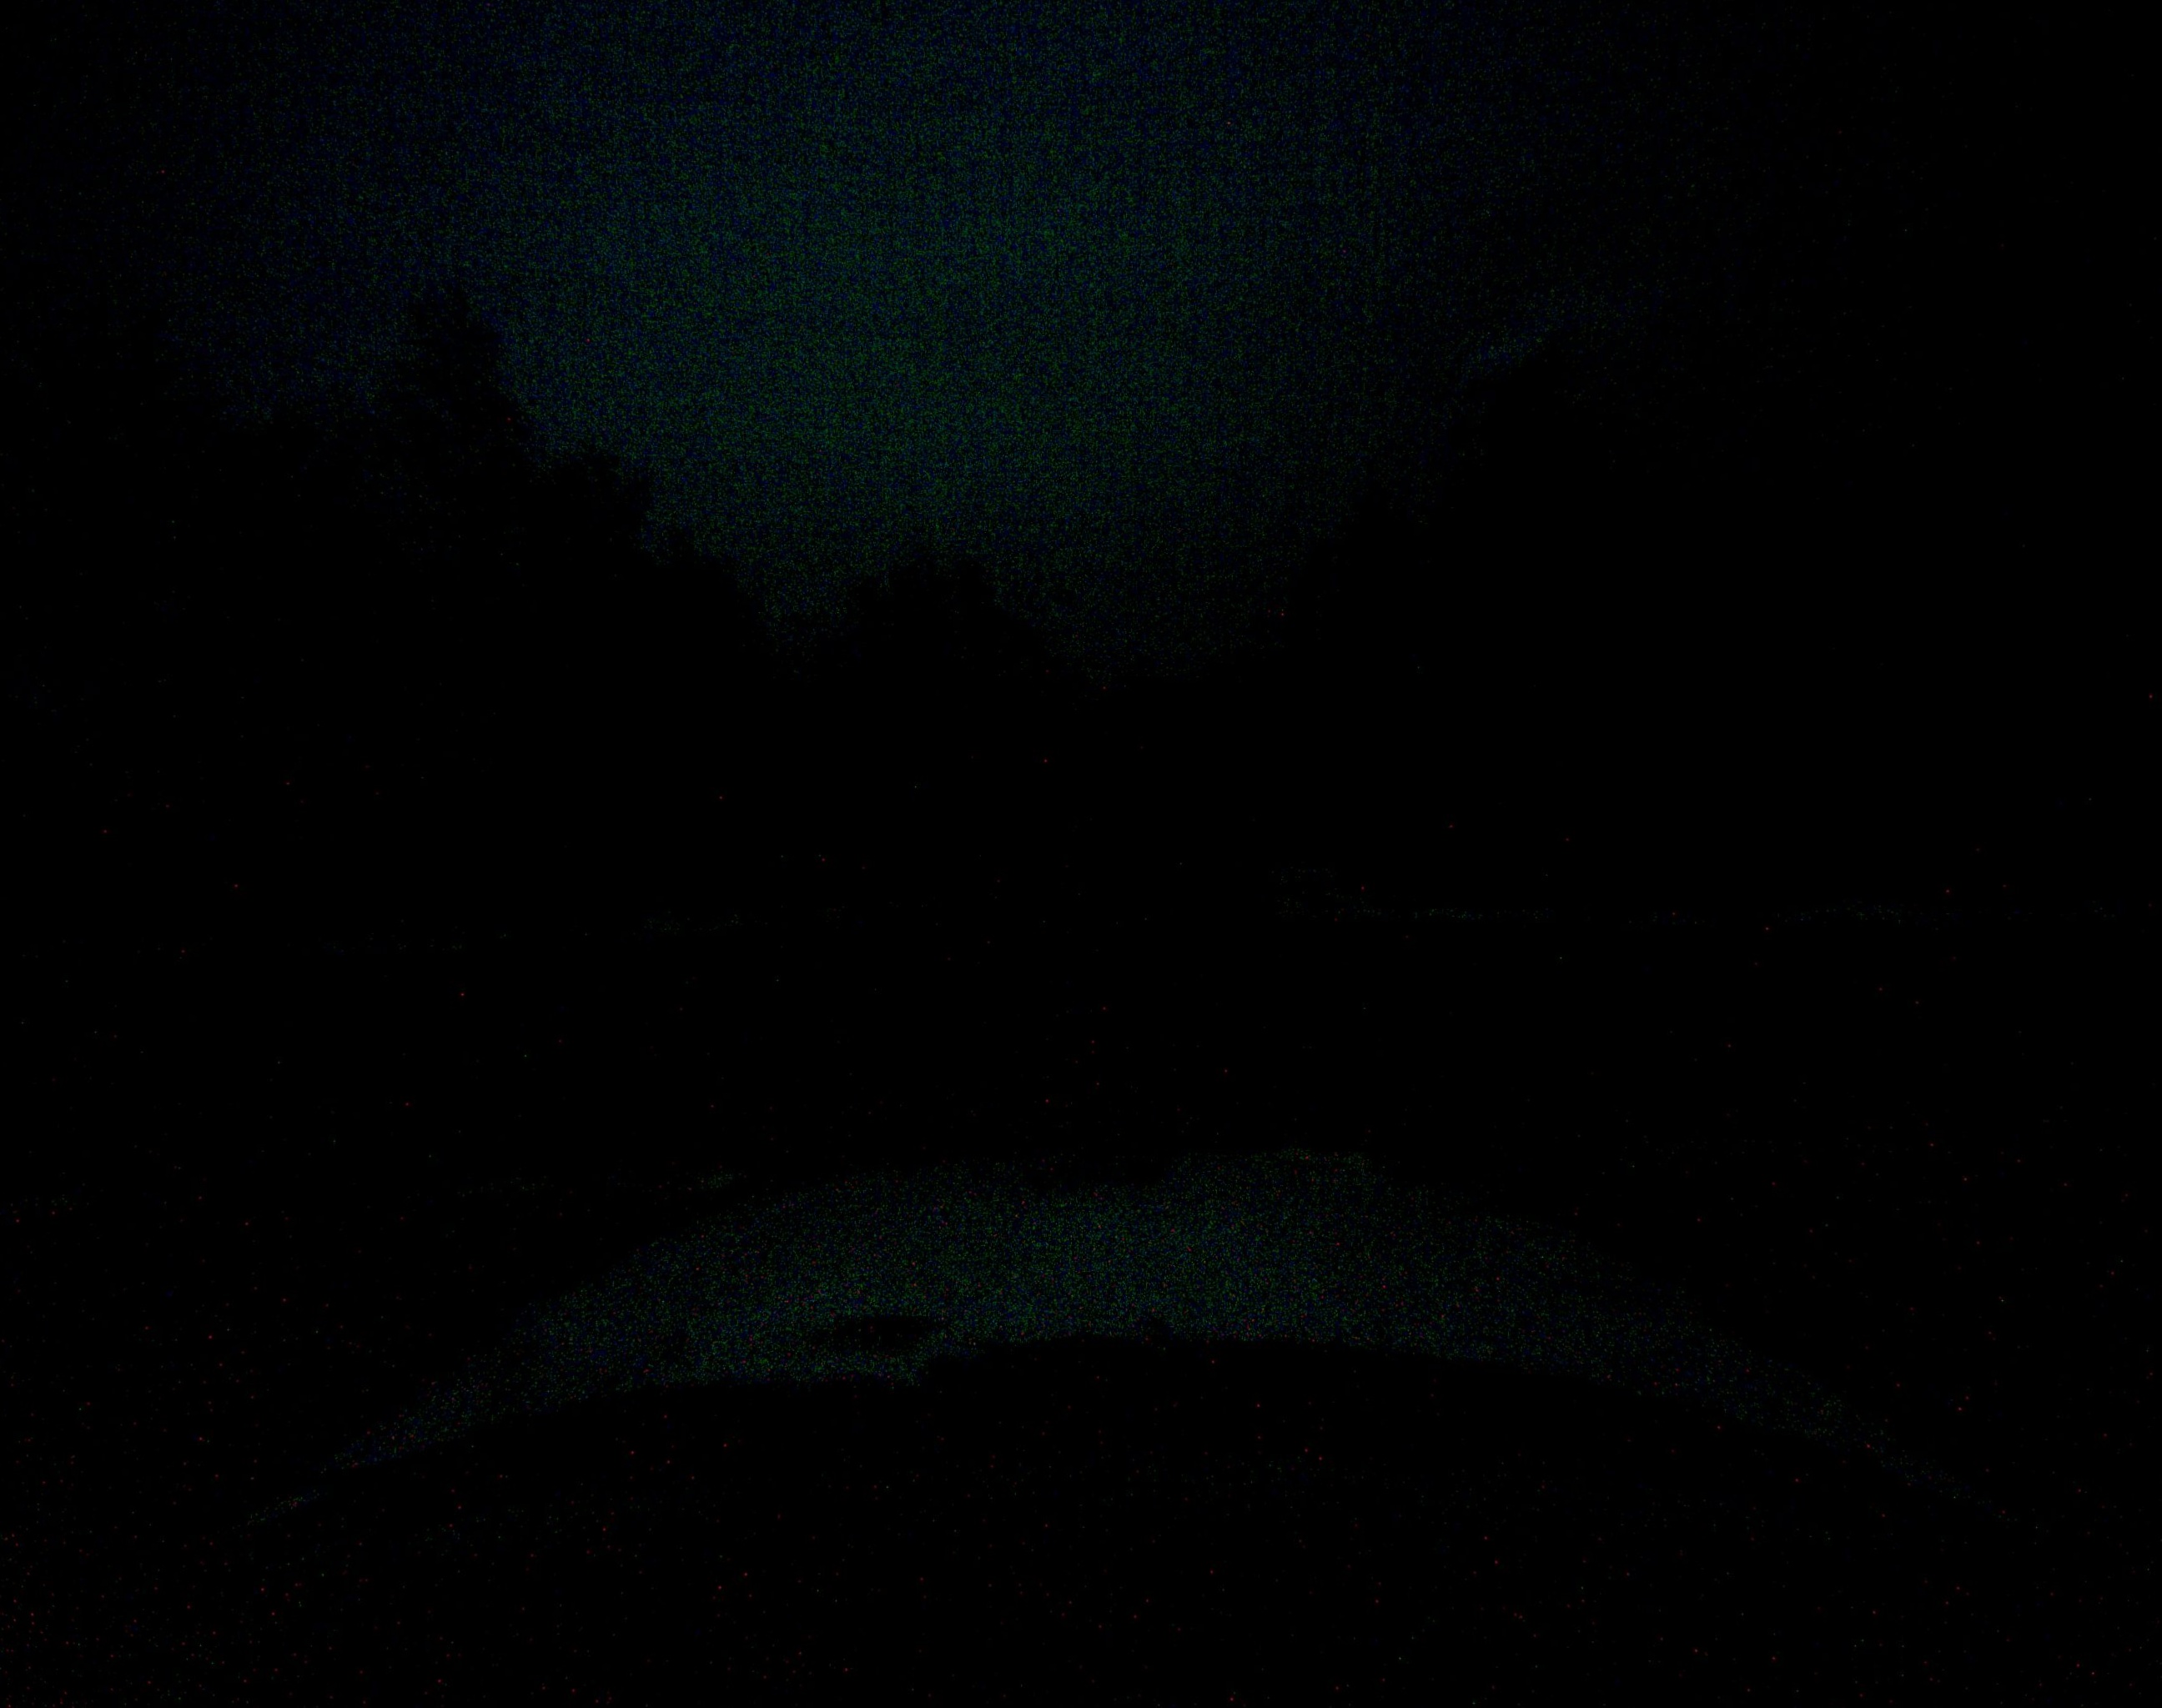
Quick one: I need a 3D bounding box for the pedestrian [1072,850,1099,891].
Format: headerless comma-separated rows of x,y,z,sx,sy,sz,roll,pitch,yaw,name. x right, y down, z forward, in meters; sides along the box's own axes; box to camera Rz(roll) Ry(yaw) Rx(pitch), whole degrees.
0.208,0.730,36.637,0.952,1.828,0.930,0,-2,23,pedestrian

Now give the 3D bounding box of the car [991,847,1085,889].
-1.978,0.667,37.855,3.915,1.881,2.009,0,-1,18,car
